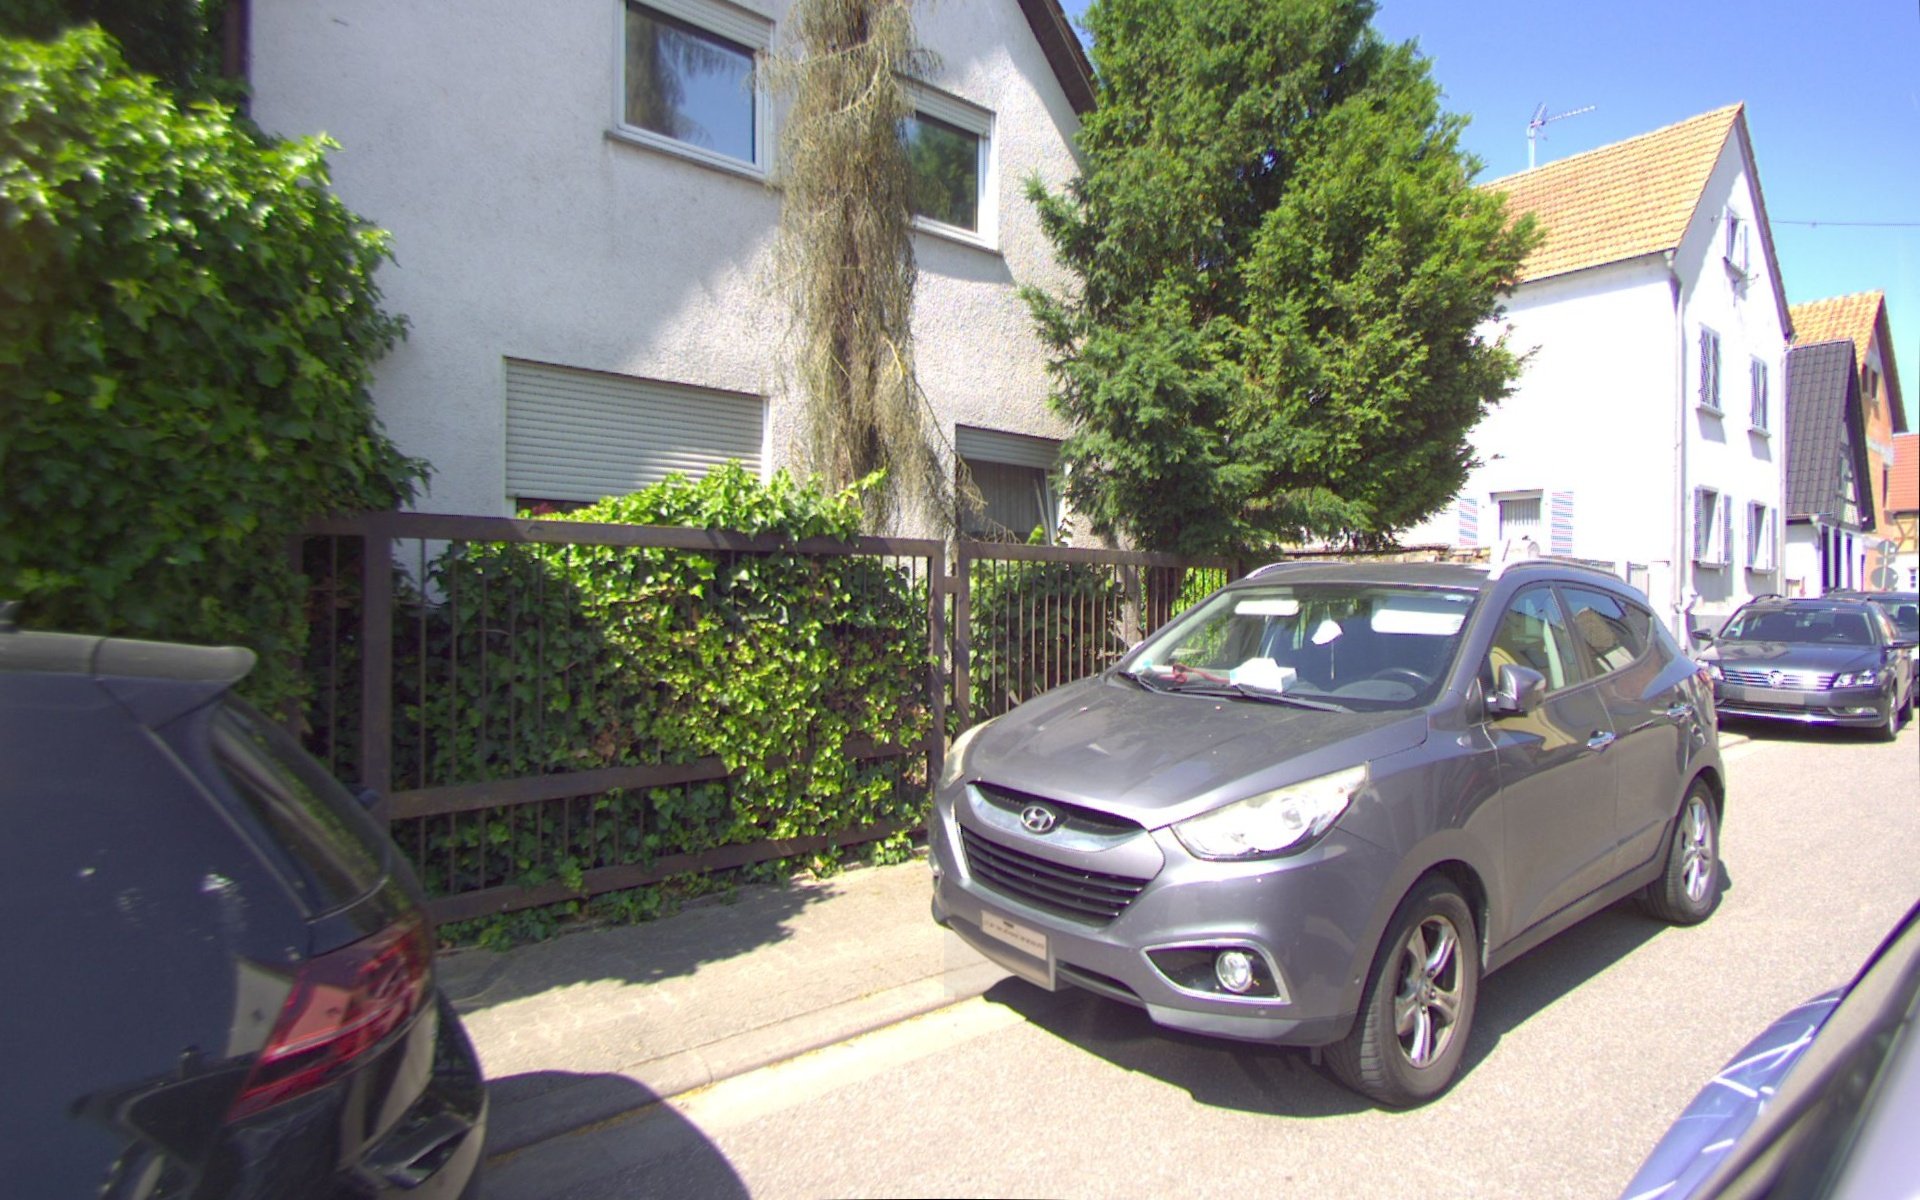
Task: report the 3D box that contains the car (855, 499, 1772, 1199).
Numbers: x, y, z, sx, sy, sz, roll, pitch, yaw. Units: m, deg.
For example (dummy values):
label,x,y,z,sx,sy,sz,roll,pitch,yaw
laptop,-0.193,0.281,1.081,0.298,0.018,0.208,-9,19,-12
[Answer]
label,x,y,z,sx,sy,sz,roll,pitch,yaw
car,1.831,0.597,4.386,4.282,1.651,1.798,0,0,-39

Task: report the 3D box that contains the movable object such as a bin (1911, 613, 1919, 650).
label,x,y,z,sx,sy,sz,roll,pitch,yaw
movable object such as a bin,24.700,0.798,25.766,0.540,0.925,0.540,0,0,-23

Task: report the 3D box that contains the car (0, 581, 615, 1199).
label,x,y,z,sx,sy,sz,roll,pitch,yaw
car,-2.586,0.714,0.886,3.992,1.482,1.716,0,1,-40

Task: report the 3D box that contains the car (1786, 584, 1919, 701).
label,x,y,z,sx,sy,sz,roll,pitch,yaw
car,14.379,0.556,15.550,4.549,1.580,1.801,0,0,-40

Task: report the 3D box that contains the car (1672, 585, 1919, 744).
label,x,y,z,sx,sy,sz,roll,pitch,yaw
car,10.094,0.606,11.933,4.503,1.527,1.822,0,0,-42

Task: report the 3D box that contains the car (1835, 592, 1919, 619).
label,x,y,z,sx,sy,sz,roll,pitch,yaw
car,52.676,0.303,56.973,1.960,1.470,4.773,0,0,-29

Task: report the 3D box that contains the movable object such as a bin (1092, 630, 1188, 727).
label,x,y,z,sx,sy,sz,roll,pitch,yaw
movable object such as a bin,1.966,0.839,11.101,0.560,0.961,0.883,0,1,-42
